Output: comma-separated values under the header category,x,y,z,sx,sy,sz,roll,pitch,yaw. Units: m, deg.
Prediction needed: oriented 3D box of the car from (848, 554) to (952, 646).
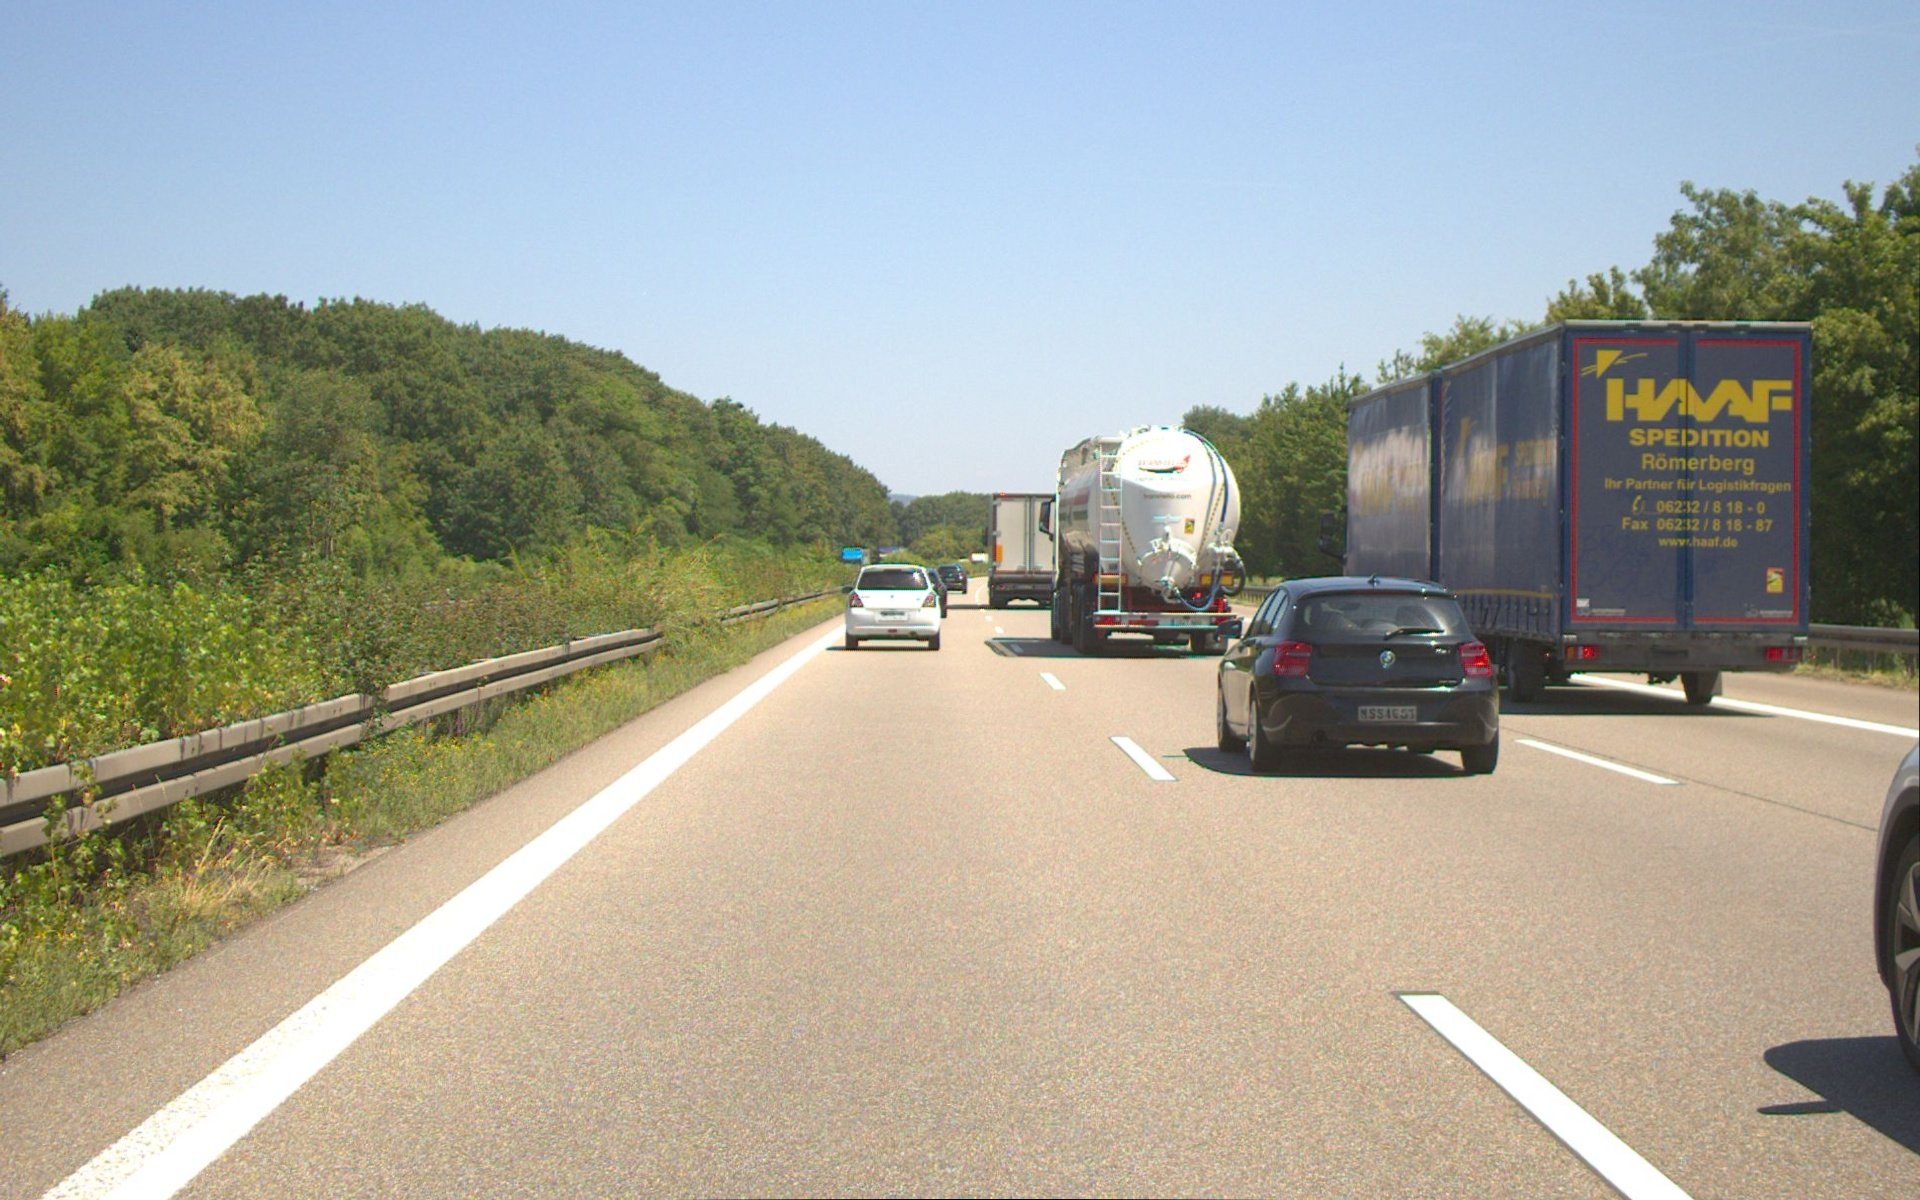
category,x,y,z,sx,sy,sz,roll,pitch,yaw
car,-1.103,-0.024,61.669,1.799,1.546,3.610,1,1,-2

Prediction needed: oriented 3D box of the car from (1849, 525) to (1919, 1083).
category,x,y,z,sx,sy,sz,roll,pitch,yaw
car,3.684,0.622,8.385,1.802,1.597,4.381,1,1,-1

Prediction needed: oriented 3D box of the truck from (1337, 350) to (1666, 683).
category,x,y,z,sx,sy,sz,roll,pitch,yaw
truck,7.220,-1.111,47.064,3.109,4.124,8.056,1,1,0

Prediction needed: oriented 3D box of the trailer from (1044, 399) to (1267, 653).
category,x,y,z,sx,sy,sz,roll,pitch,yaw
trailer,3.320,-1.297,61.800,2.911,4.055,12.419,1,1,-2

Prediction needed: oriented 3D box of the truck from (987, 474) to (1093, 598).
category,x,y,z,sx,sy,sz,roll,pitch,yaw
truck,2.812,-2.293,124.287,3.394,4.199,12.084,1,1,0

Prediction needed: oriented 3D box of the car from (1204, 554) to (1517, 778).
category,x,y,z,sx,sy,sz,roll,pitch,yaw
car,2.934,0.435,25.960,1.850,1.518,3.957,1,1,0

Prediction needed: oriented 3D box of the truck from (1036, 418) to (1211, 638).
category,x,y,z,sx,sy,sz,roll,pitch,yaw
truck,3.141,-1.402,67.949,2.912,4.065,7.196,1,1,-1

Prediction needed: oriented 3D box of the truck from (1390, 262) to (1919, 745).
category,x,y,z,sx,sy,sz,roll,pitch,yaw
truck,7.282,-0.951,37.368,3.109,4.124,15.512,1,1,0

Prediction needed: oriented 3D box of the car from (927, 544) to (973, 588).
category,x,y,z,sx,sy,sz,roll,pitch,yaw
car,-0.541,-1.896,189.129,2.475,2.346,5.182,1,1,0
